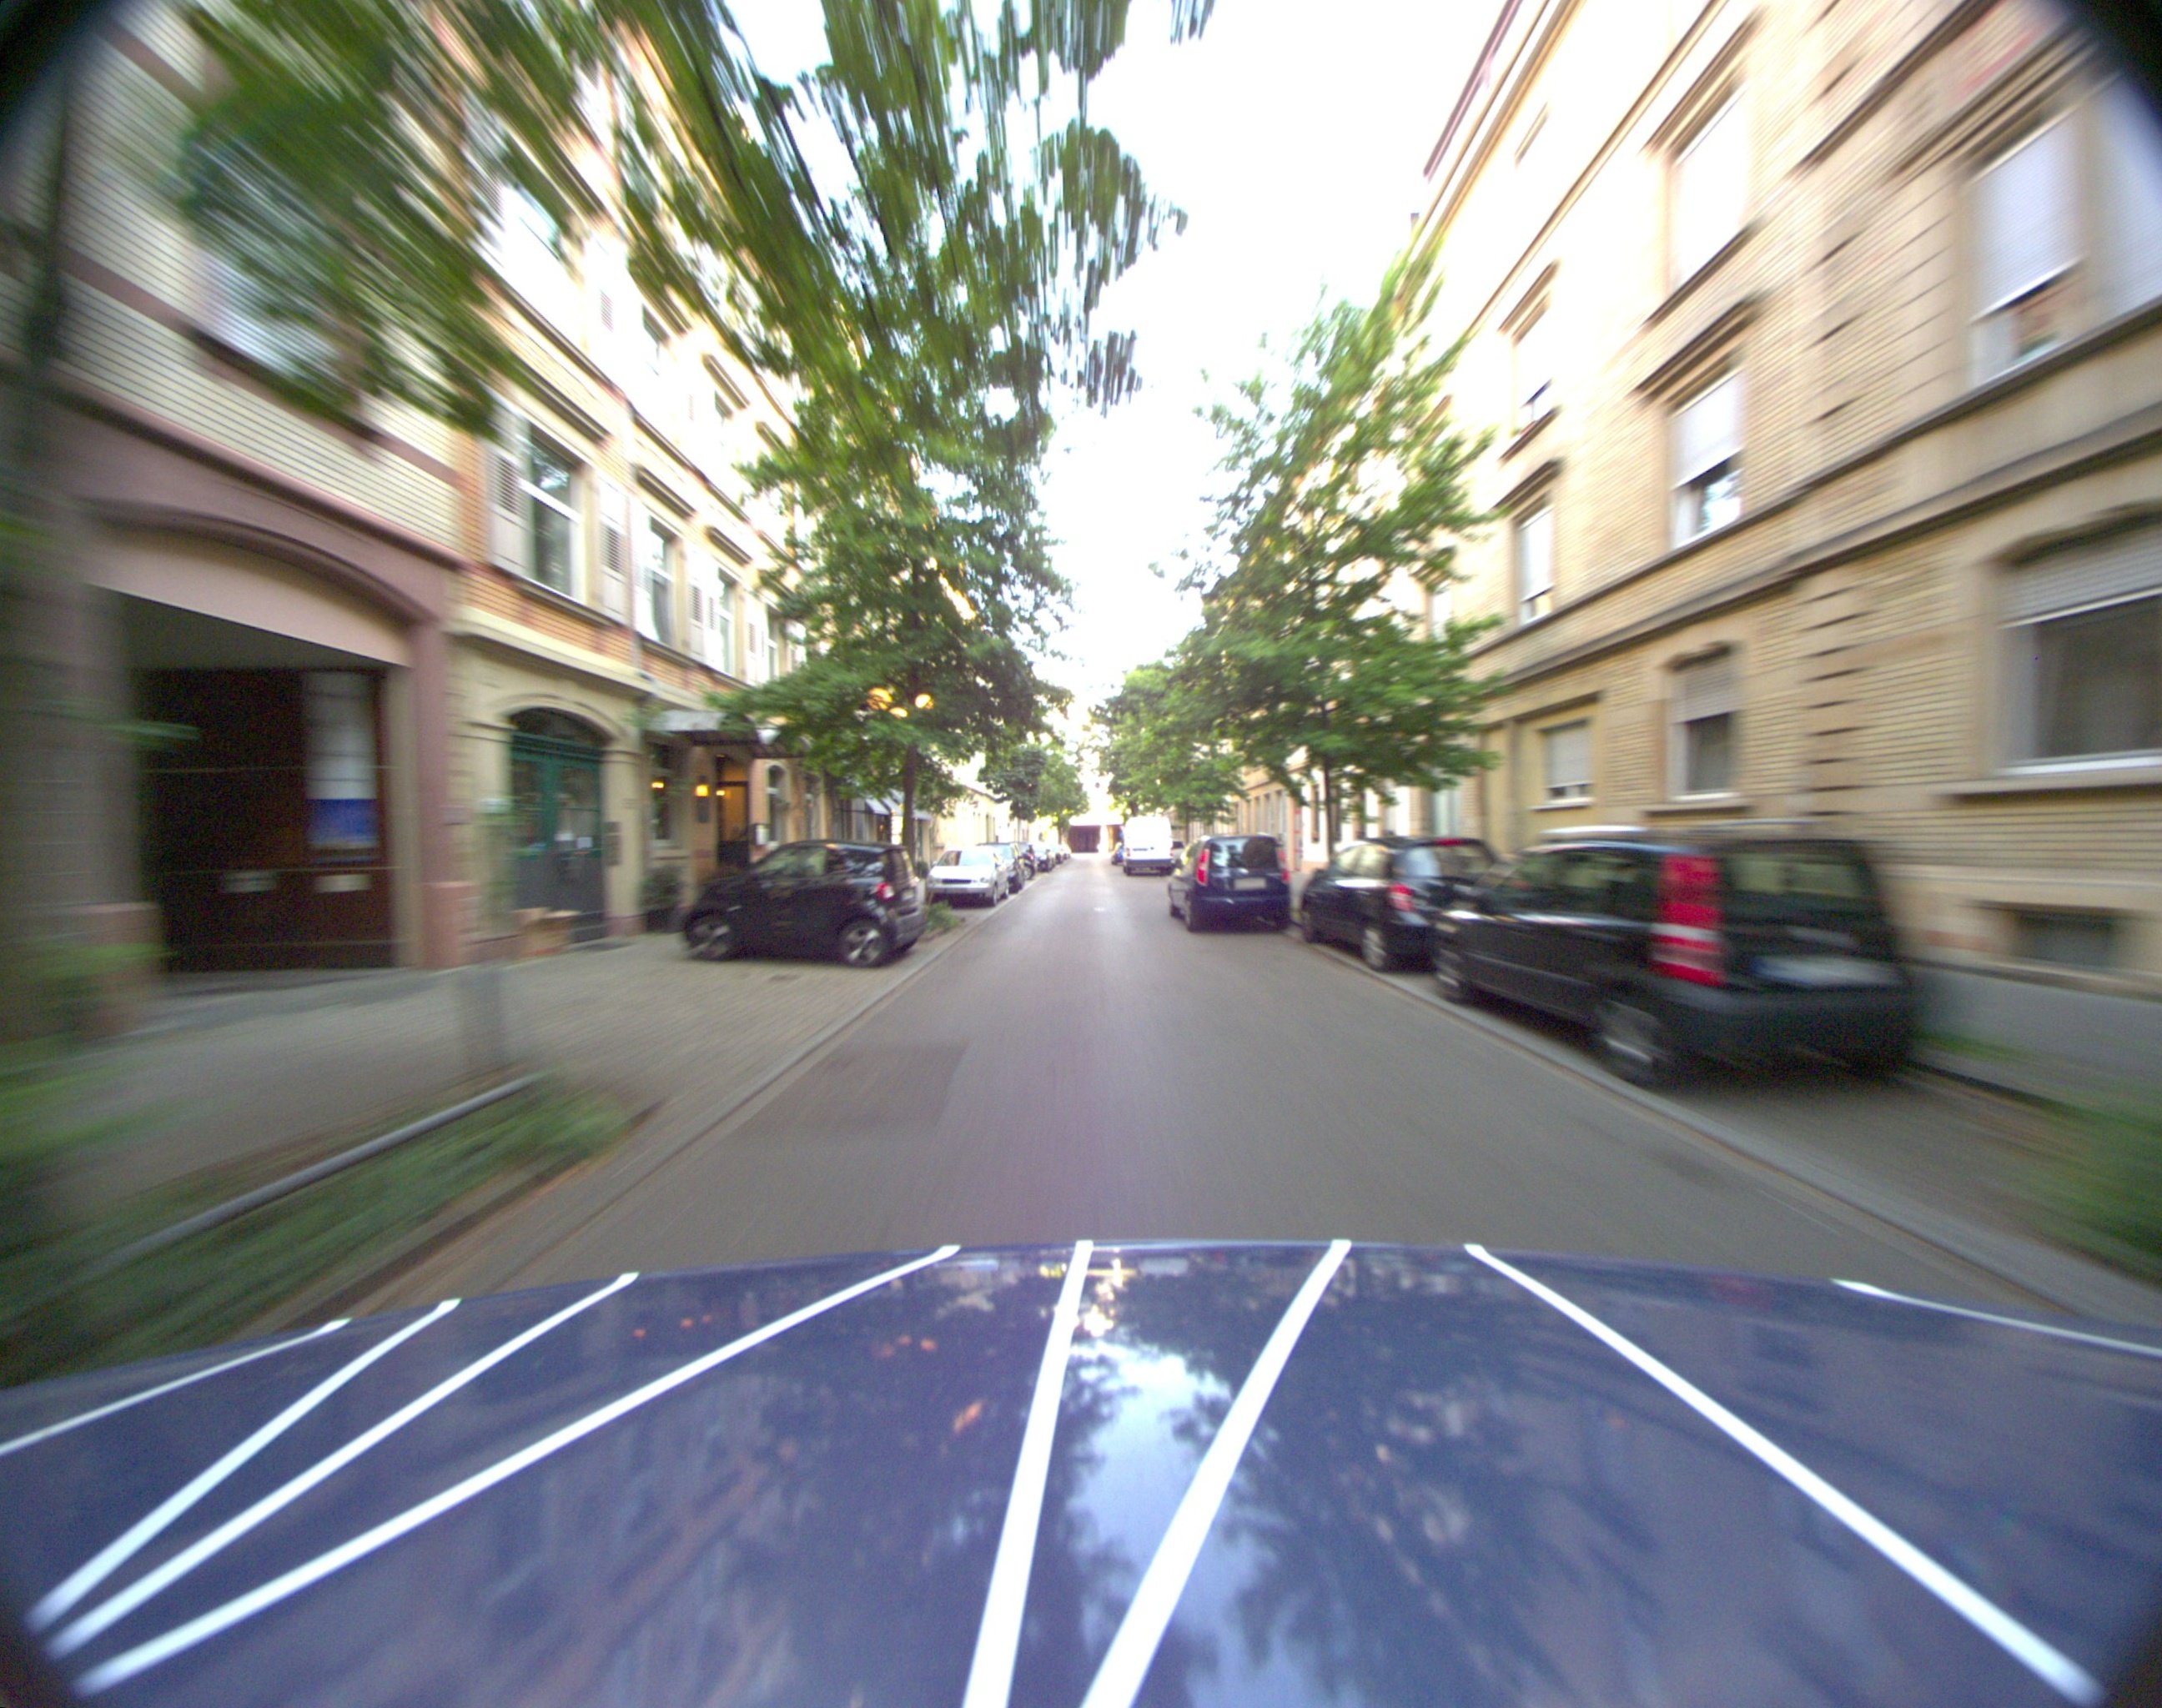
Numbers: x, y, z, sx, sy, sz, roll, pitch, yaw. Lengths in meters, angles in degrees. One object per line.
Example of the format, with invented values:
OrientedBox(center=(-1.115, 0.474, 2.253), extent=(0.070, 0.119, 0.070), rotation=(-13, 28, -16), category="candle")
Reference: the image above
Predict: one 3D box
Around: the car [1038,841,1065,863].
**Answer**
OrientedBox(center=(-2.153, -0.204, 56.584), extent=(1.835, 1.530, 4.123), rotation=(-1, 1, 0), category="car")

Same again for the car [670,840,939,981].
OrientedBox(center=(-3.441, 0.649, 9.861), extent=(2.804, 1.590, 1.800), rotation=(1, 2, 1), category="car")

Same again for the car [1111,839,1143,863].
OrientedBox(center=(3.004, -0.221, 50.277), extent=(1.665, 1.448, 4.281), rotation=(-1, 1, -3), category="car")

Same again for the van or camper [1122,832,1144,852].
OrientedBox(center=(4.877, -1.144, 71.515), extent=(1.684, 1.847, 3.755), rotation=(-2, 1, -2), category="van or camper")

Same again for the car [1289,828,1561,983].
OrientedBox(center=(4.018, 0.474, 9.602), extent=(1.695, 1.493, 3.710), rotation=(-3, 2, 0), category="car")

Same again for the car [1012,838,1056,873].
OrientedBox(center=(-2.394, 0.039, 39.774), extent=(1.944, 1.621, 4.453), rotation=(-2, 1, 0), category="car")

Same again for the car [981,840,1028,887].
OrientedBox(center=(-2.669, 0.305, 27.001), extent=(1.468, 1.543, 2.916), rotation=(-1, 2, -3), category="car")

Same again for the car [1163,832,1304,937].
OrientedBox(center=(2.590, 0.425, 13.846), extent=(1.728, 1.565, 4.218), rotation=(-2, 1, 1), category="car")

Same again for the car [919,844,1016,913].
OrientedBox(center=(-2.741, 0.530, 19.243), extent=(1.737, 1.482, 4.103), rotation=(-1, 1, 1), category="car")

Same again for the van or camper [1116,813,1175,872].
OrientedBox(center=(2.834, -0.543, 34.462), extent=(2.225, 2.417, 5.659), rotation=(-1, 1, 1), category="van or camper")

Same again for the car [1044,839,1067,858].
OrientedBox(center=(-2.038, -0.476, 61.659), extent=(1.656, 1.432, 3.638), rotation=(-2, 1, 0), category="car")

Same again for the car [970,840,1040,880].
OrientedBox(center=(-3.079, 0.220, 31.174), extent=(2.721, 1.564, 1.525), rotation=(0, 2, 1), category="car")

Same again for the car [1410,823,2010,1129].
OrientedBox(center=(4.004, 0.582, 5.671), extent=(1.523, 1.493, 3.560), rotation=(-3, 2, 1), category="car")

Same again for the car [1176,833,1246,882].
OrientedBox(center=(4.378, 0.067, 26.134), extent=(1.688, 1.501, 4.112), rotation=(-2, 2, 0), category="car")

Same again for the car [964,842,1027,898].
OrientedBox(center=(-2.597, 0.436, 23.615), extent=(1.595, 1.552, 3.121), rotation=(-2, 2, -1), category="car")

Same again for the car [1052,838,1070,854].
OrientedBox(center=(-1.936, -0.783, 73.062), extent=(1.656, 1.501, 3.868), rotation=(-2, 1, -2), category="car")
